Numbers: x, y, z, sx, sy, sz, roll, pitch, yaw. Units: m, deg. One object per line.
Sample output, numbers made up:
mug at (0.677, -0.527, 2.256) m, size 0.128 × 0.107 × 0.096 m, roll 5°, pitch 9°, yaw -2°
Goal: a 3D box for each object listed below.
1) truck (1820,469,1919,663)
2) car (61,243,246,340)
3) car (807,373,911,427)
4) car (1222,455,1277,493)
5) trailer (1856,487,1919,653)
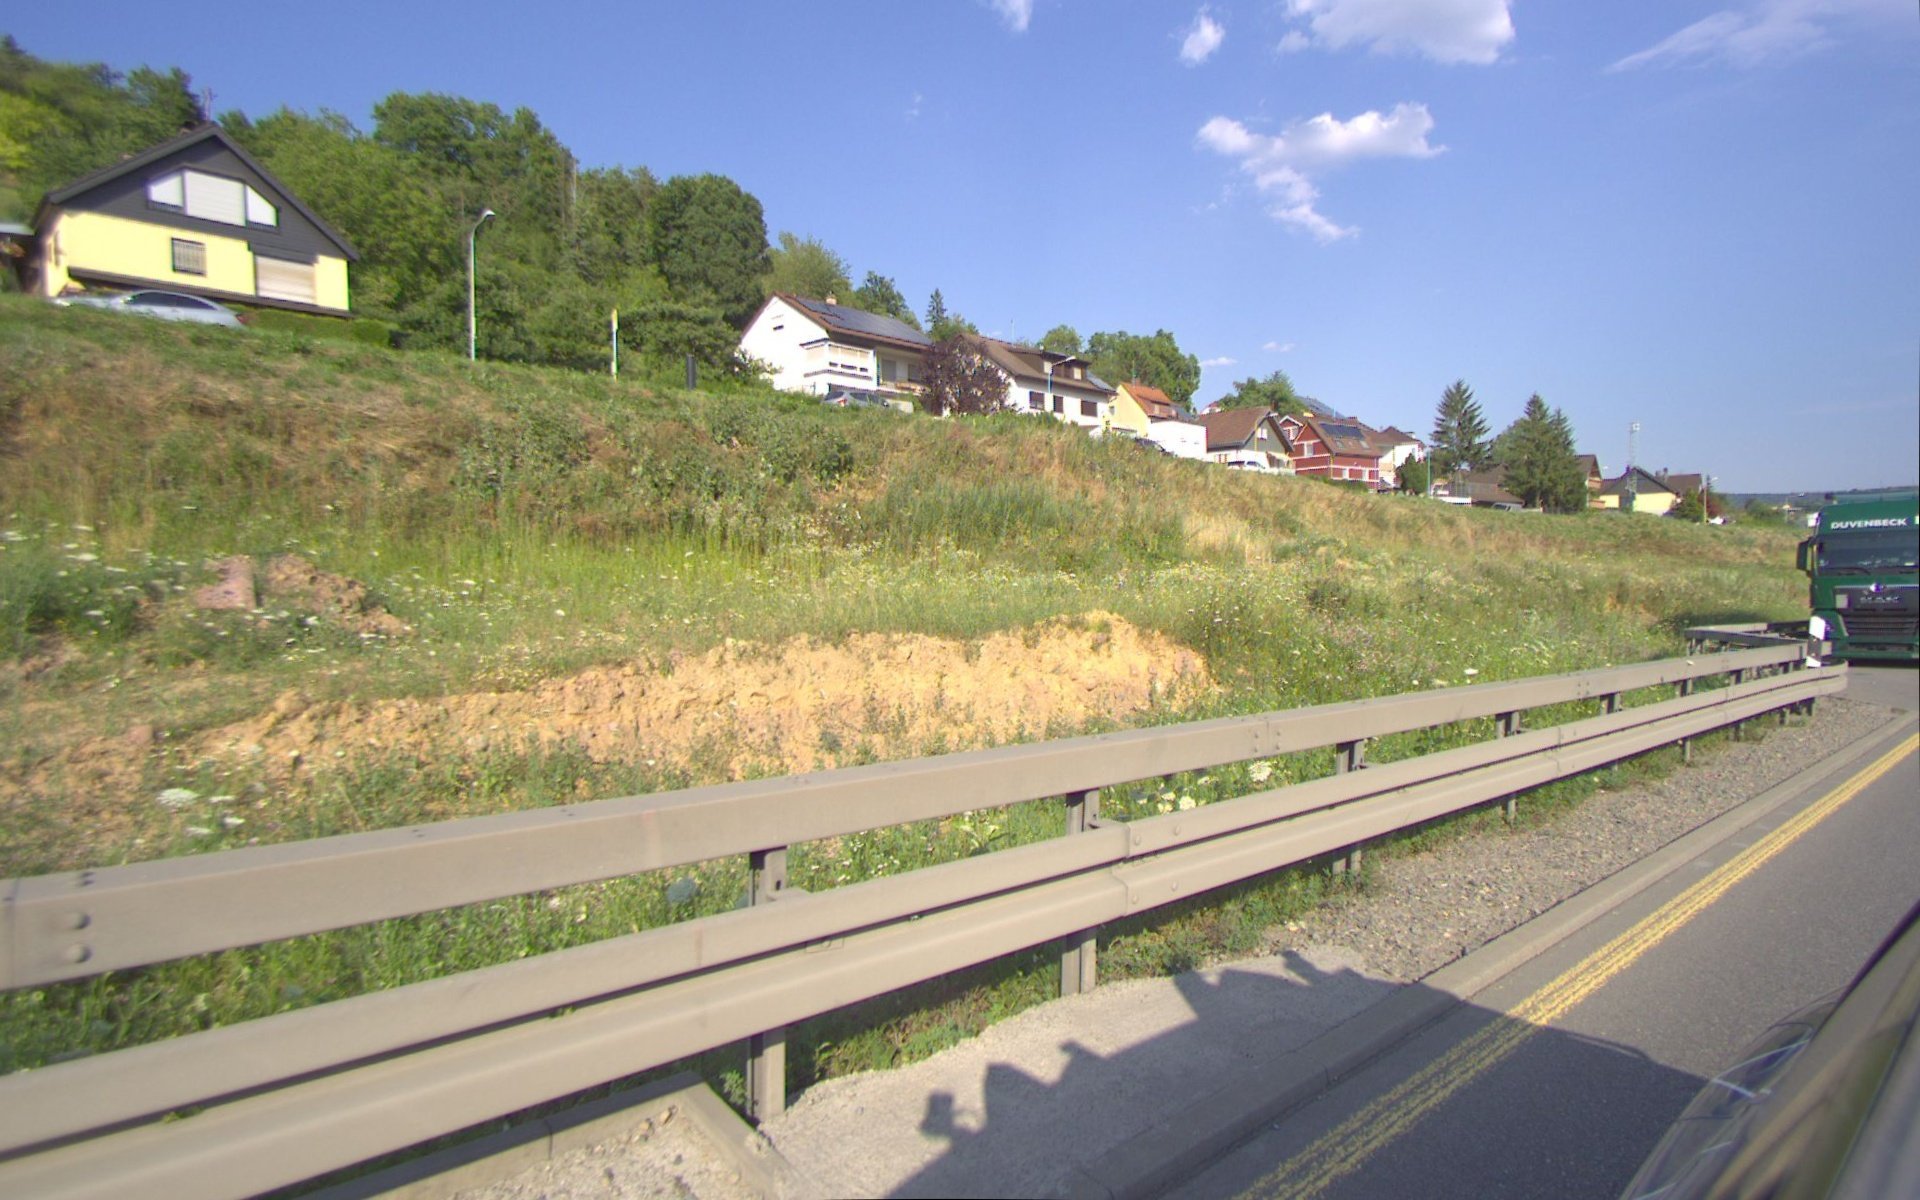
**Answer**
truck at (22.191, -0.747, 23.381) m, size 5.964 × 4.066 × 2.545 m, roll -1°, pitch 0°, yaw -40°
car at (-20.599, -7.824, 25.945) m, size 1.443 × 1.389 × 3.507 m, roll -1°, pitch 0°, yaw 39°
car at (-4.184, -8.301, 42.291) m, size 3.932 × 1.460 × 1.996 m, roll 0°, pitch 0°, yaw -43°
car at (19.584, -8.487, 68.431) m, size 1.993 × 2.039 × 3.938 m, roll 0°, pitch 0°, yaw 43°
trailer at (27.680, -0.778, 28.141) m, size 11.867 × 3.984 × 2.552 m, roll -1°, pitch 0°, yaw -41°
